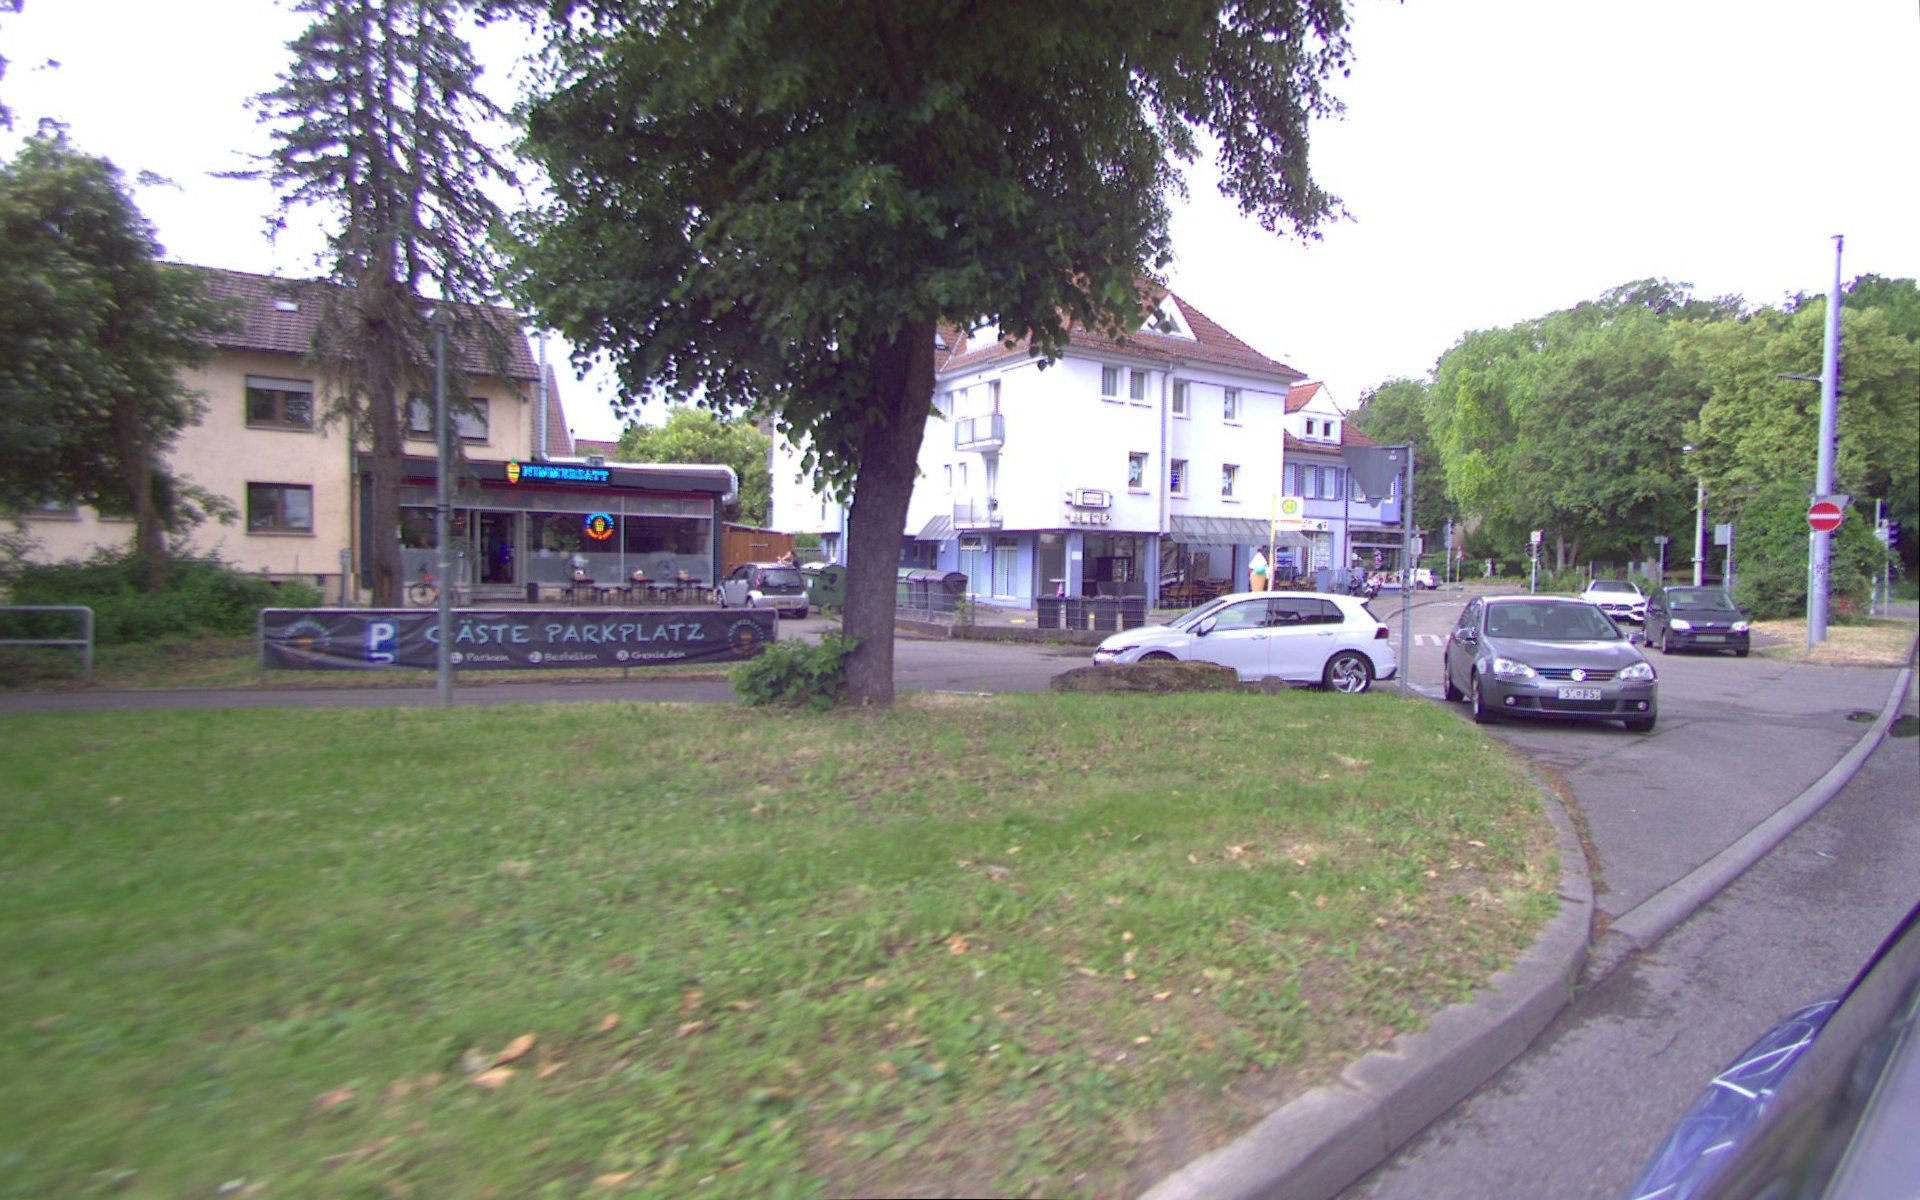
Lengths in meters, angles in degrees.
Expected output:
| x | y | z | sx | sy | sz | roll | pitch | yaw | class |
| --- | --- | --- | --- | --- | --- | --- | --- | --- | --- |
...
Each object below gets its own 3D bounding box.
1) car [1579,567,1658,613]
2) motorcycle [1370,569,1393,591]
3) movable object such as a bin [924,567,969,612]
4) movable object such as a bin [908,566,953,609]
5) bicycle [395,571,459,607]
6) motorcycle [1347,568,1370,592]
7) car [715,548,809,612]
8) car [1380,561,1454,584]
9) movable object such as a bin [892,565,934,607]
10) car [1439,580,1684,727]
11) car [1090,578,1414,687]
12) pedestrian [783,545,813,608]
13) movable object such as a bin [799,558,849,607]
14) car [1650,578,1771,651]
| x | y | z | sx | sy | sz | roll | pitch | yaw | class |
| --- | --- | --- | --- | --- | --- | --- | --- | --- | --- |
| 23.117 | -0.408 | 35.683 | 1.983 | 1.403 | 4.741 | 2 | 4 | 29 | car |
| 19.767 | -0.951 | 47.440 | 0.519 | 0.997 | 1.799 | 2 | 3 | 37 | motorcycle |
| -0.456 | -0.364 | 33.317 | 1.072 | 1.433 | 1.220 | -1 | 3 | -26 | movable object such as a bin |
| -1.019 | -0.440 | 34.561 | 1.137 | 1.412 | 1.220 | -1 | 3 | -26 | movable object such as a bin |
| -14.212 | -0.311 | 26.967 | 1.945 | 0.886 | 0.409 | 2 | 2 | 25 | bicycle |
| 17.912 | -0.916 | 45.502 | 0.487 | 1.044 | 1.702 | 2 | 3 | 37 | motorcycle |
| -5.603 | -0.613 | 28.331 | 1.592 | 1.650 | 3.430 | -1 | 3 | -29 | car |
| 32.403 | -1.973 | 71.844 | 1.863 | 1.473 | 4.552 | -1 | 3 | -30 | car |
| -1.651 | -0.511 | 35.714 | 1.072 | 1.412 | 1.220 | -1 | 3 | -26 | movable object such as a bin |
| 7.099 | 0.513 | 12.396 | 1.711 | 1.447 | 4.088 | 1 | 1 | 19 | car |
| 4.042 | 0.413 | 14.617 | 4.186 | 1.397 | 1.763 | 1 | 2 | 6 | car |
| -4.610 | -0.684 | 28.809 | 0.600 | 1.750 | 0.689 | -1 | 3 | -36 | pedestrian |
| -3.965 | -0.535 | 29.499 | 0.977 | 1.361 | 1.220 | -2 | 3 | -36 | movable object such as a bin |
| 16.519 | 0.254 | 22.435 | 1.558 | 1.421 | 3.462 | 2 | 2 | 27 | car |
